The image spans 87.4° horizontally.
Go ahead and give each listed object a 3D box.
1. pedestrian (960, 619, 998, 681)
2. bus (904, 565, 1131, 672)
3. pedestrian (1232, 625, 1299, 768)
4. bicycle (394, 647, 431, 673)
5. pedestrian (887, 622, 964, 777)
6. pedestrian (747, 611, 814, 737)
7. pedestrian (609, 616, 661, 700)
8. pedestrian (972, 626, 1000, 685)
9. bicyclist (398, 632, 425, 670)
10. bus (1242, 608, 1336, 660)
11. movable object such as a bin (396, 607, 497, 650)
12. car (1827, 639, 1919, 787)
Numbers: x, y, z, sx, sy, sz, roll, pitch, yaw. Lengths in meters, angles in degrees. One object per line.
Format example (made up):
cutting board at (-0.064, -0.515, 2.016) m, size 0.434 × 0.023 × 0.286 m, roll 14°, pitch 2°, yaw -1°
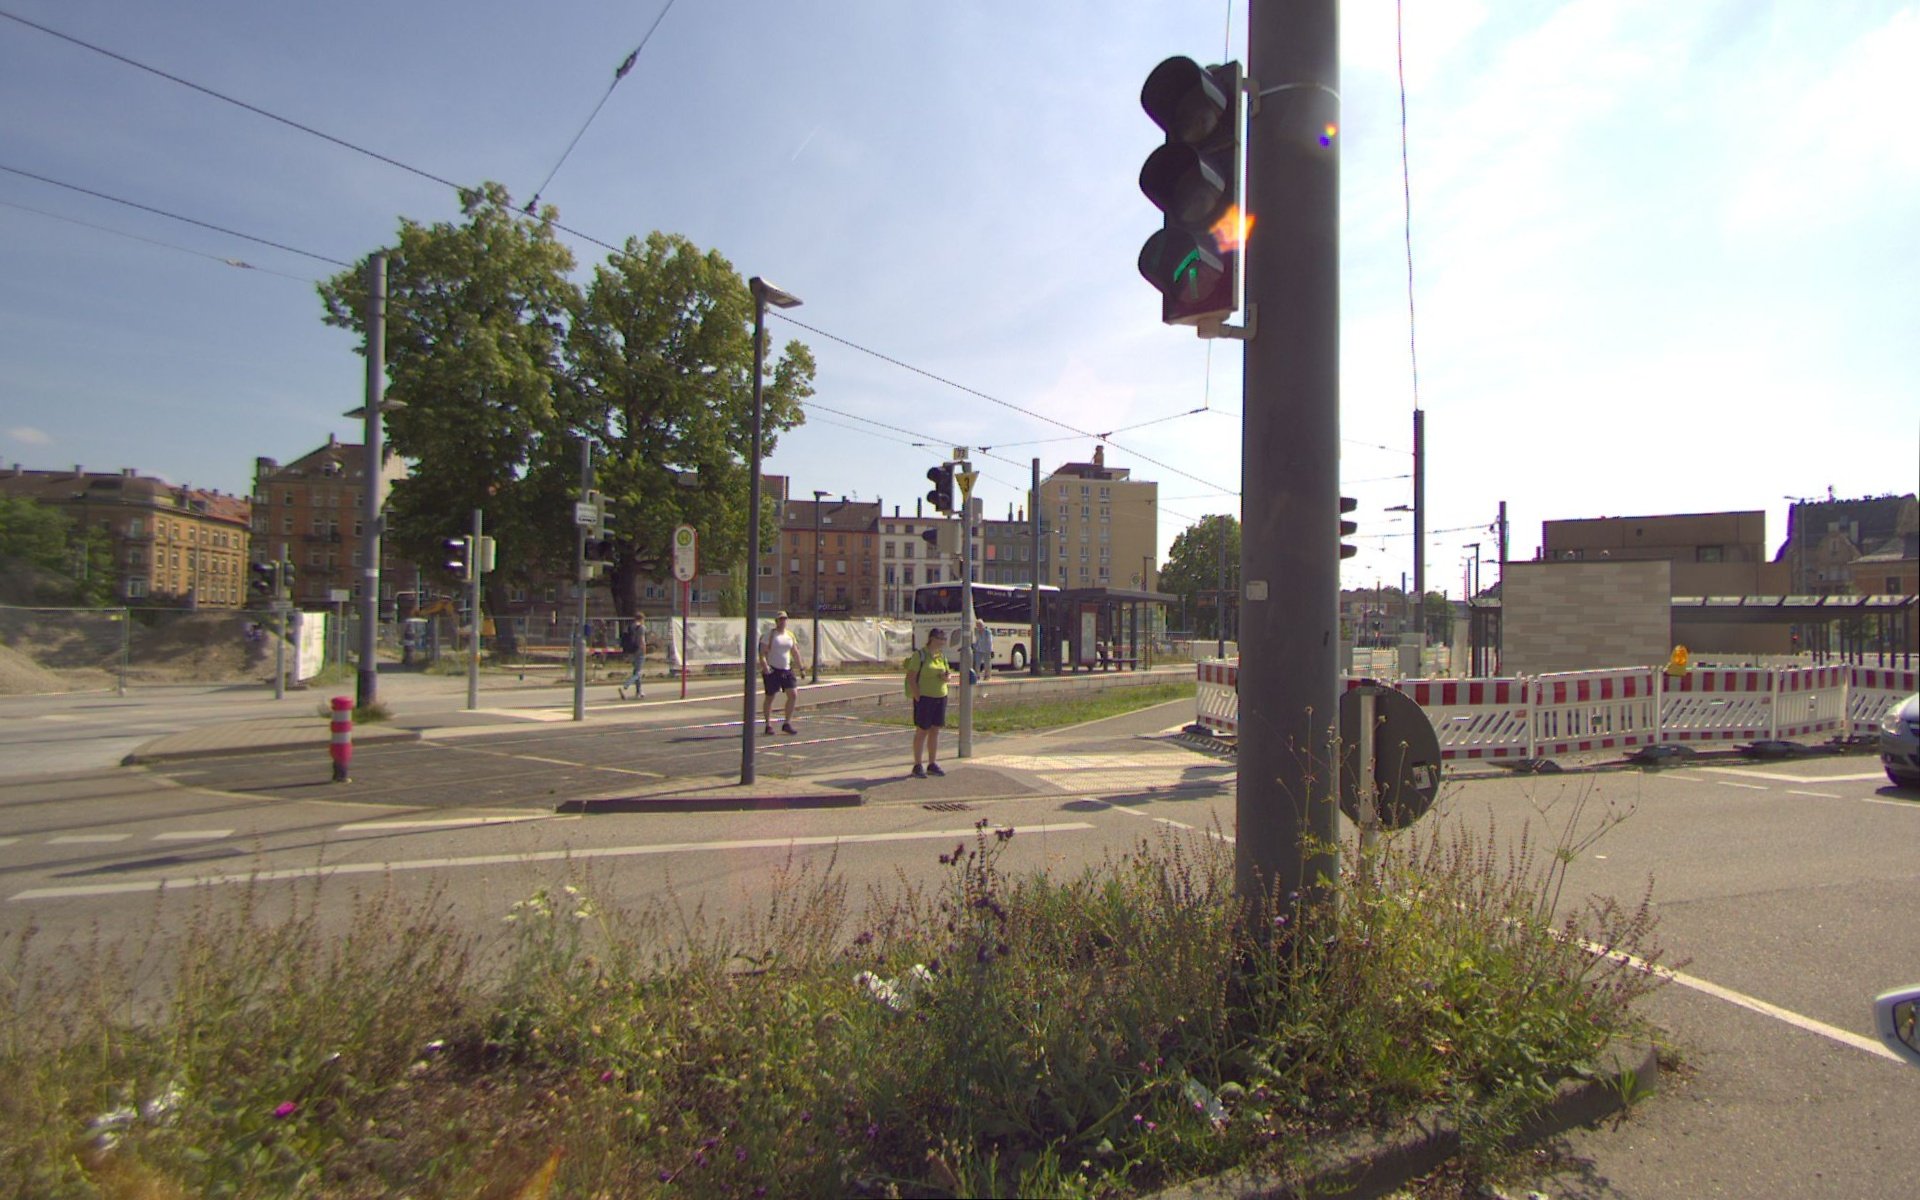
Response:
pedestrian at (0.518, 1.347, 27.211) m, size 0.781 × 1.637 × 0.659 m, roll -1°, pitch -1°, yaw 38°
bus at (2.745, 0.867, 39.404) m, size 2.815 × 3.535 × 12.622 m, roll -1°, pitch -3°, yaw 34°
pedestrian at (3.592, 1.120, 11.822) m, size 0.676 × 1.637 × 0.349 m, roll 1°, pitch -2°, yaw -20°
bicycle at (-20.147, 2.197, 36.965) m, size 0.756 × 0.935 × 2.045 m, roll 2°, pitch -3°, yaw -41°
pedestrian at (-0.361, 1.023, 10.542) m, size 0.659 × 1.564 × 0.420 m, roll 1°, pitch 1°, yaw -28°
pedestrian at (-2.722, 1.096, 15.204) m, size 0.831 × 1.836 × 0.644 m, roll 1°, pitch -1°, yaw -30°
pedestrian at (-6.863, 1.212, 21.243) m, size 0.547 × 1.735 × 0.936 m, roll 0°, pitch -1°, yaw 23°
pedestrian at (0.727, 1.558, 28.417) m, size 0.675 × 1.637 × 0.586 m, roll 0°, pitch -1°, yaw 15°
bicyclist at (-20.308, 1.893, 37.189) m, size 0.615 × 1.378 × 1.159 m, roll 2°, pitch -3°, yaw -41°
bus at (23.022, 2.402, 69.666) m, size 2.815 × 3.324 × 12.622 m, roll -1°, pitch -3°, yaw 34°
movable object such as a bin at (-37.713, 2.124, 74.011) m, size 6.466 × 3.048 × 2.567 m, roll 2°, pitch -2°, yaw -26°
car at (11.180, 1.122, 10.280) m, size 3.939 × 1.430 × 1.792 m, roll 1°, pitch -4°, yaw -20°
